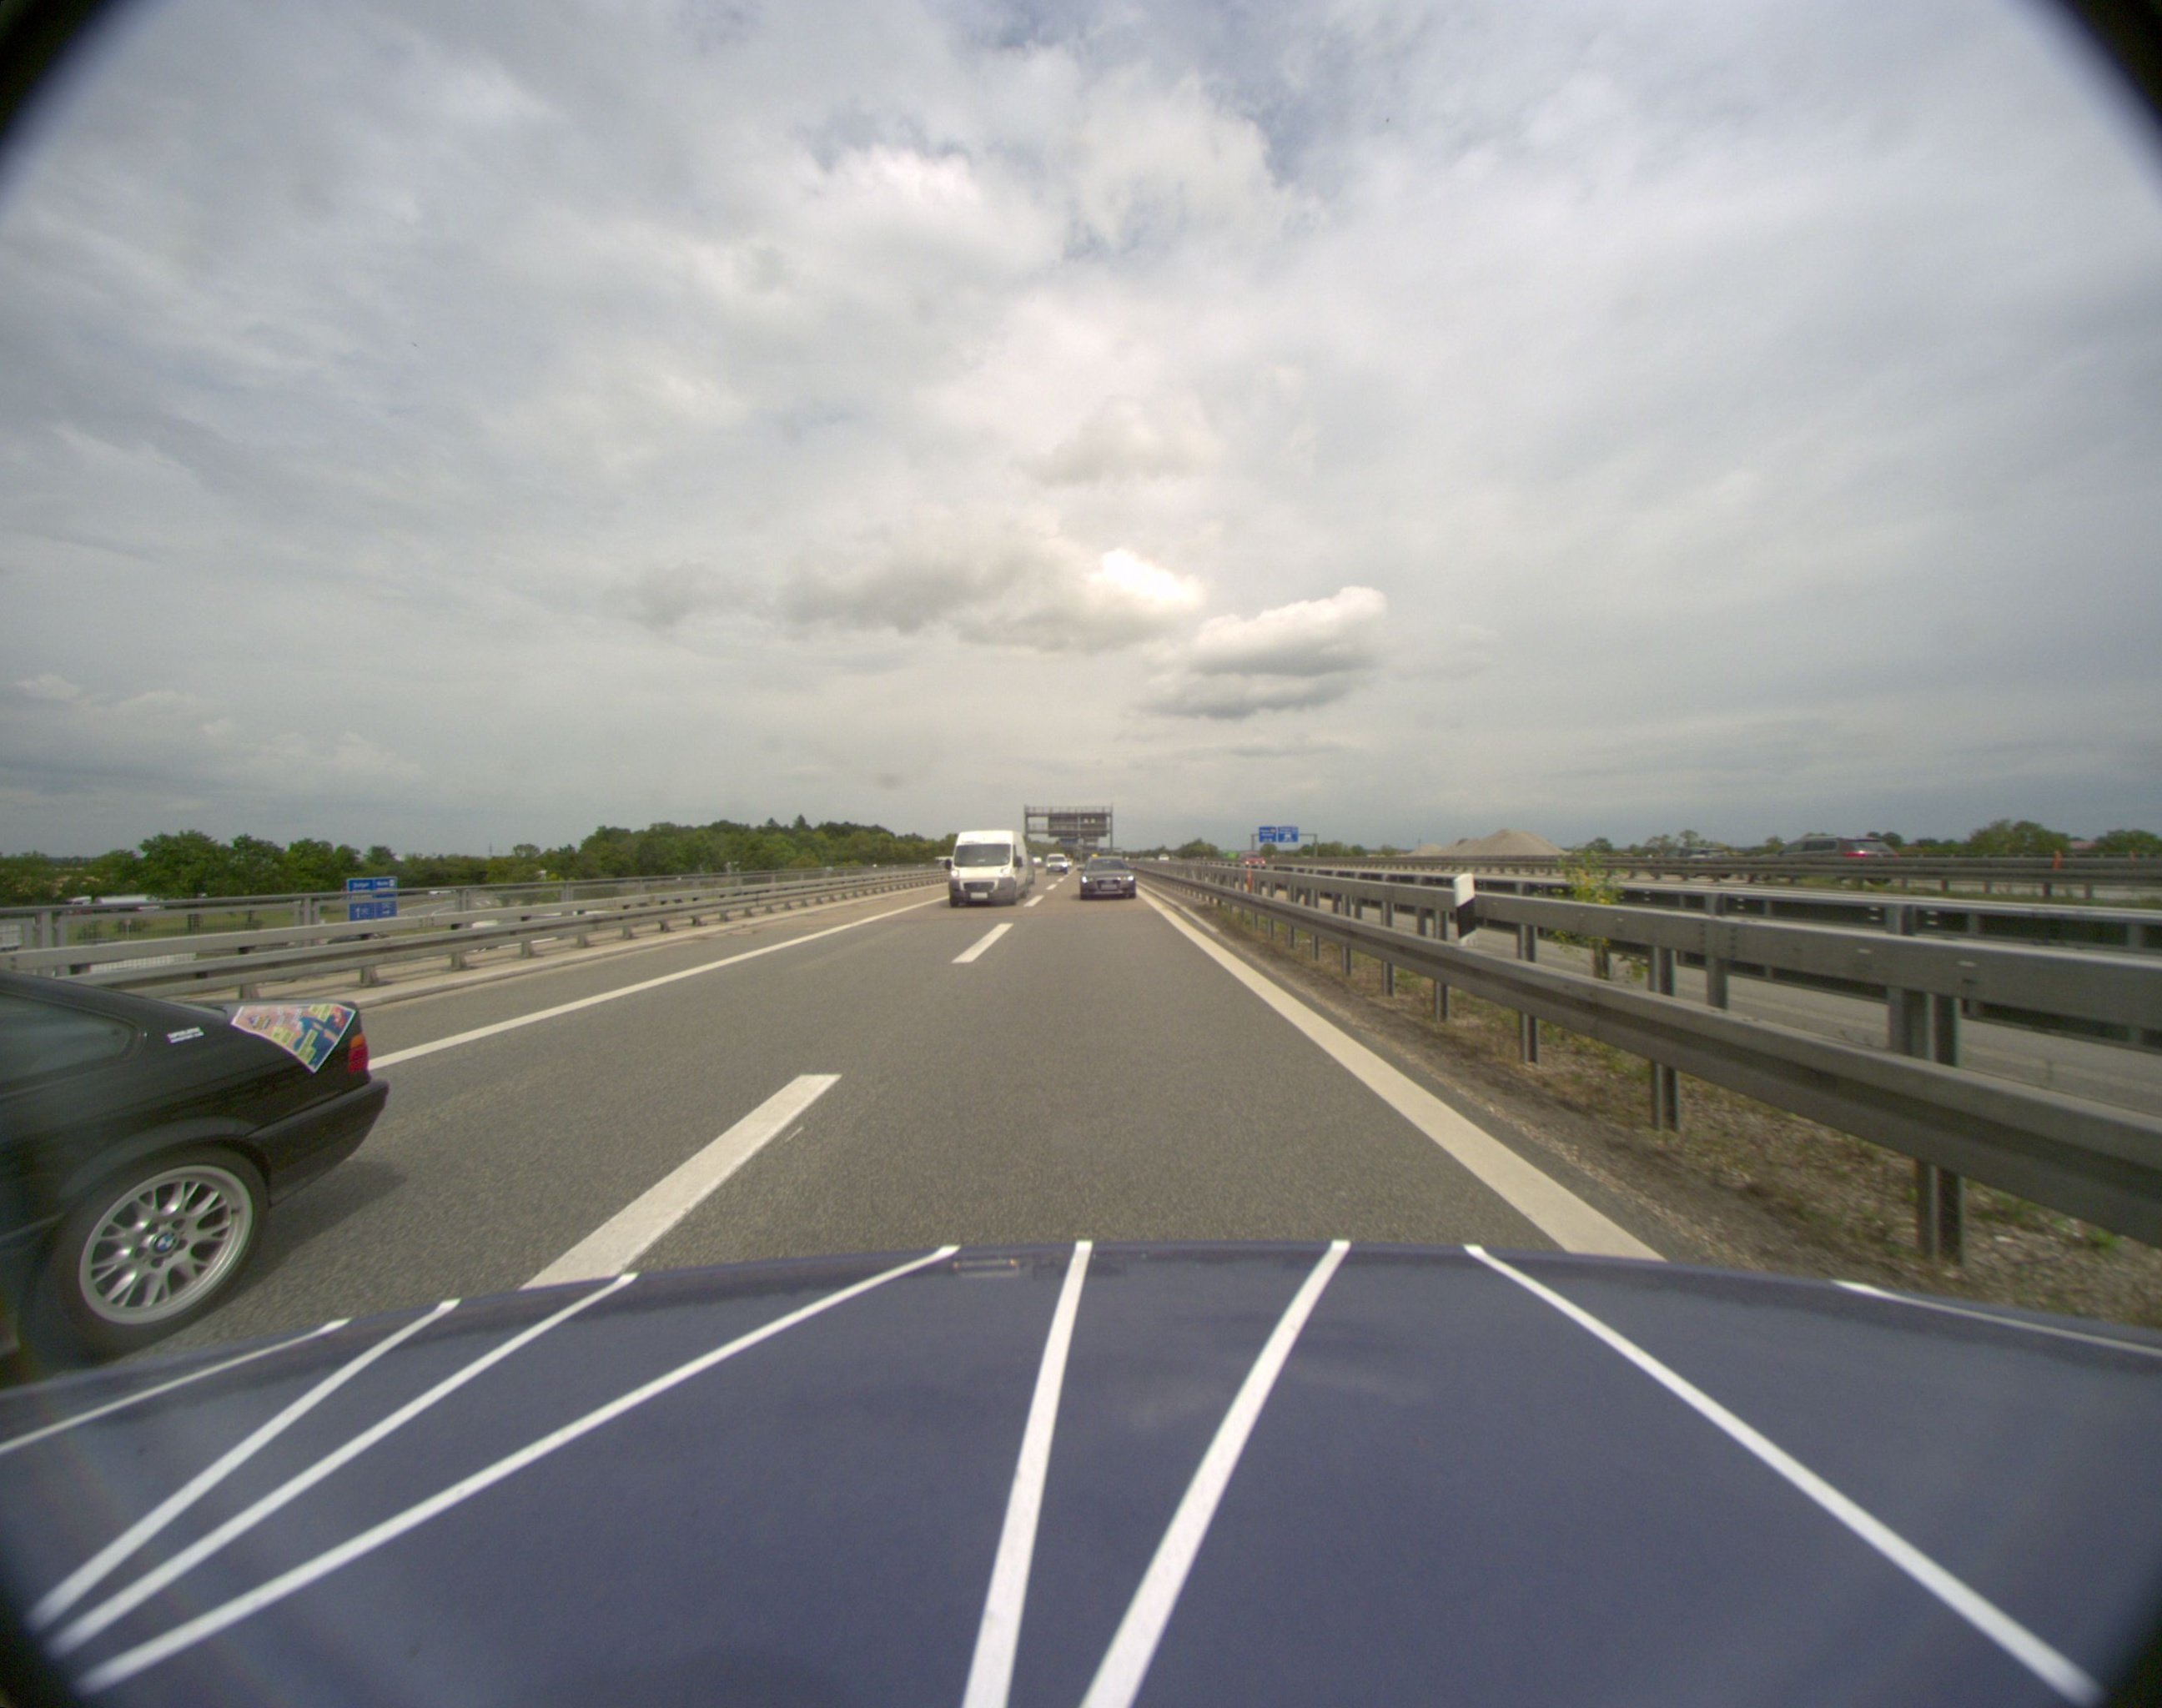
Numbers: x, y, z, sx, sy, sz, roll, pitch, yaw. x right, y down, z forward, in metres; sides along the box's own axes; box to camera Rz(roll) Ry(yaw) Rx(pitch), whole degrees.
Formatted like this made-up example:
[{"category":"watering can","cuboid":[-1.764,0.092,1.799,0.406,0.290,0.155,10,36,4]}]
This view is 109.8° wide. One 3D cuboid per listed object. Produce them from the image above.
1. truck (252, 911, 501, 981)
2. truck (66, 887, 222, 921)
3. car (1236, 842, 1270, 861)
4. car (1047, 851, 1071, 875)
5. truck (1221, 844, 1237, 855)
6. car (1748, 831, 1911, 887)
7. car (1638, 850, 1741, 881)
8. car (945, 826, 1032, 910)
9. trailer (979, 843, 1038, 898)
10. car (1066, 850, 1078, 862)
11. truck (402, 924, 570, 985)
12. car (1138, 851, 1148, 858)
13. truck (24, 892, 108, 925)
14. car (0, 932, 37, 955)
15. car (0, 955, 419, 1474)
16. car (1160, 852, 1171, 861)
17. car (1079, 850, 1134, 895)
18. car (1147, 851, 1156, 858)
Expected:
[{"category":"truck","cuboid":[-62.964,8.089,68.645,16.184,4.673,3.988,-2,1,-17]},{"category":"truck","cuboid":[-143.815,7.576,117.151,3.079,4.065,14.754,-2,0,21]},{"category":"car","cuboid":[14.773,-0.220,65.375,1.824,1.537,4.354,-2,0,-1]},{"category":"car","cuboid":[-1.829,0.736,64.666,1.846,1.871,4.289,-2,0,1]},{"category":"truck","cuboid":[47.201,-1.390,242.176,3.021,3.613,10.437,-2,0,0]},{"category":"car","cuboid":[26.511,0.177,27.129,1.914,1.783,4.001,-2,0,2]},{"category":"car","cuboid":[30.470,0.530,38.249,1.709,1.414,4.330,-2,0,1]},{"category":"car","cuboid":[-2.960,0.419,25.850,2.119,2.439,6.151,-2,0,0]},{"category":"trailer","cuboid":[-2.874,0.641,31.089,1.859,2.002,4.631,-2,0,0]},{"category":"car","cuboid":[-1.410,0.324,121.823,1.846,1.871,4.289,-2,0,1]},{"category":"truck","cuboid":[-50.865,8.553,65.426,10.790,4.047,3.236,-2,0,-17]},{"category":"car","cuboid":[16.111,0.214,196.744,1.999,1.739,3.999,-2,0,-1]},{"category":"truck","cuboid":[-146.615,7.830,109.874,3.155,4.163,6.452,-2,1,22]},{"category":"car","cuboid":[-105.270,8.753,73.415,4.674,2.002,2.180,-2,0,-17]},{"category":"car","cuboid":[-3.908,1.117,1.229,1.708,1.273,4.366,-2,0,2]},{"category":"car","cuboid":[19.818,0.673,178.770,1.998,2.002,4.466,-2,0,1]},{"category":"car","cuboid":[0.857,0.592,26.586,1.747,1.380,3.999,-2,1,1]},{"category":"car","cuboid":[19.735,0.212,213.369,1.999,1.871,3.999,-2,0,-1]}]
